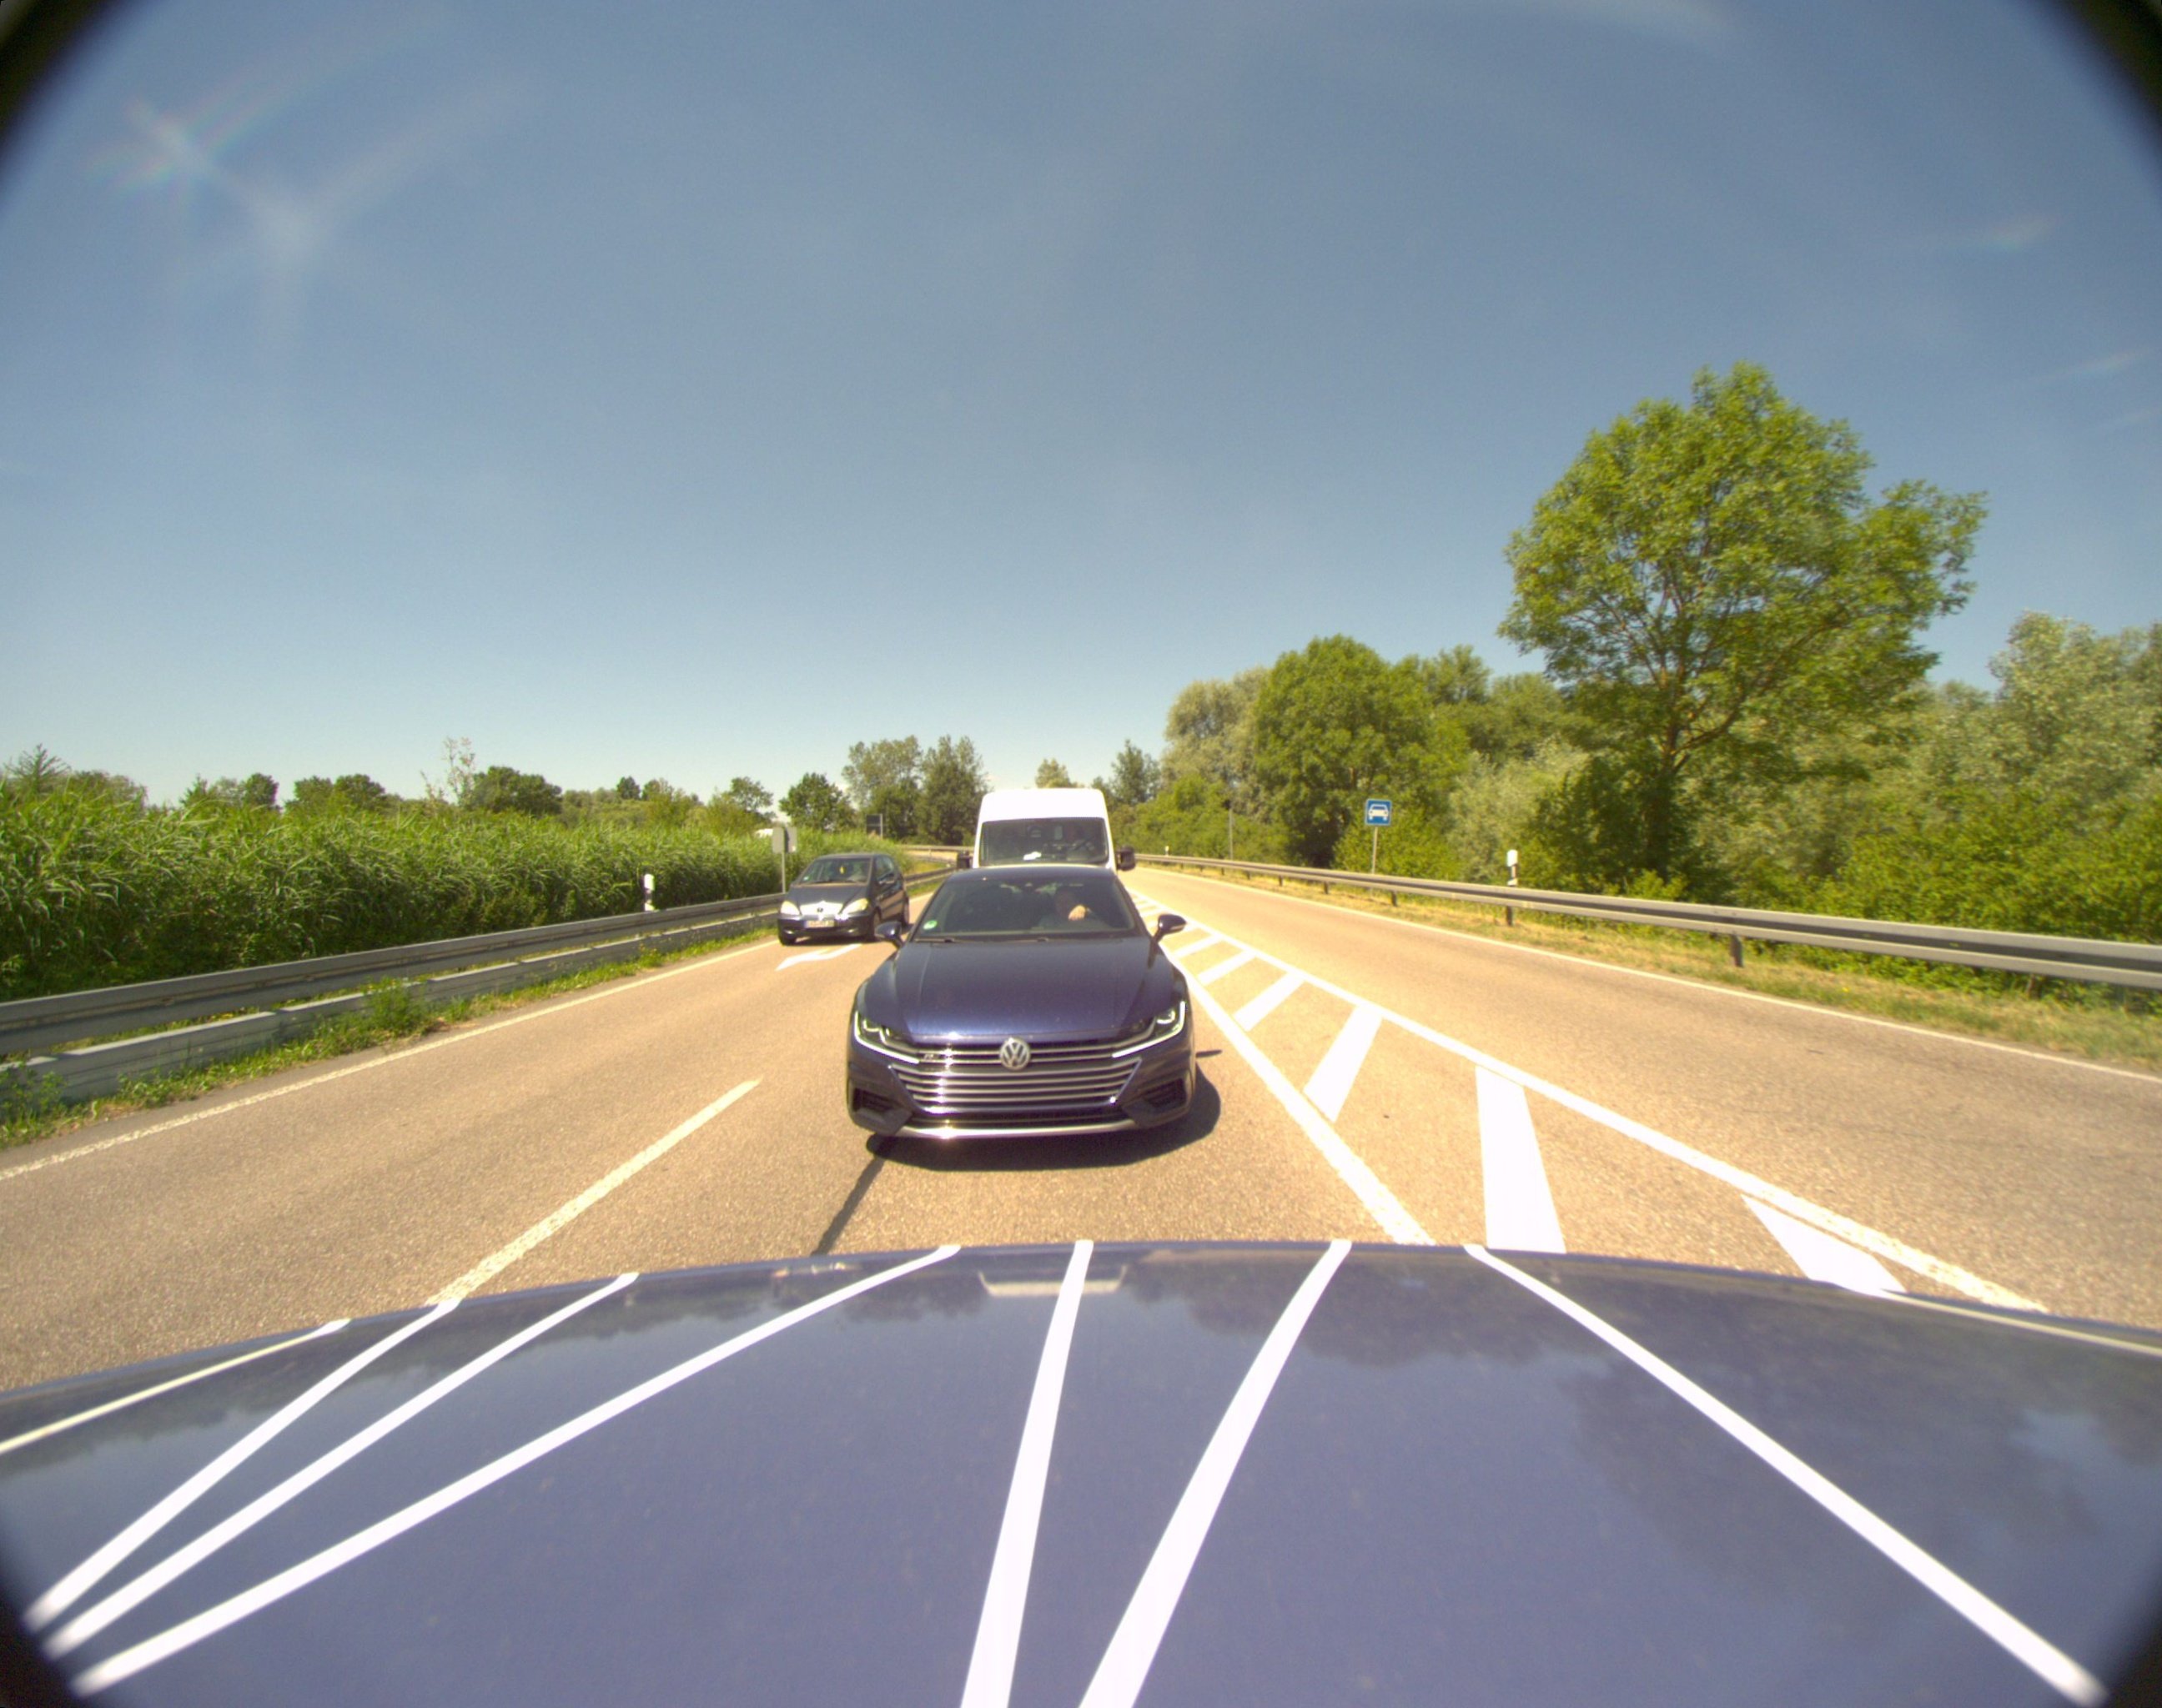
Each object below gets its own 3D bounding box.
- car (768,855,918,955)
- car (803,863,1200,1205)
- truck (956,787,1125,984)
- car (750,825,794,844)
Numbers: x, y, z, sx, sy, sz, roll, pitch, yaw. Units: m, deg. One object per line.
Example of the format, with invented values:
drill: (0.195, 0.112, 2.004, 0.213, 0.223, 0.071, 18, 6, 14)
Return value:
car: (-4.399, 0.865, 14.615, 1.672, 1.591, 3.553, -2, 1, 1)
car: (-0.346, 0.877, 5.765, 1.819, 1.454, 4.415, -2, 1, 1)
truck: (-0.668, 0.356, 12.299, 2.011, 2.365, 5.909, -2, 1, -4)
car: (-40.544, -2.599, 99.662, 5.574, 2.404, 2.002, 2, 5, 27)
